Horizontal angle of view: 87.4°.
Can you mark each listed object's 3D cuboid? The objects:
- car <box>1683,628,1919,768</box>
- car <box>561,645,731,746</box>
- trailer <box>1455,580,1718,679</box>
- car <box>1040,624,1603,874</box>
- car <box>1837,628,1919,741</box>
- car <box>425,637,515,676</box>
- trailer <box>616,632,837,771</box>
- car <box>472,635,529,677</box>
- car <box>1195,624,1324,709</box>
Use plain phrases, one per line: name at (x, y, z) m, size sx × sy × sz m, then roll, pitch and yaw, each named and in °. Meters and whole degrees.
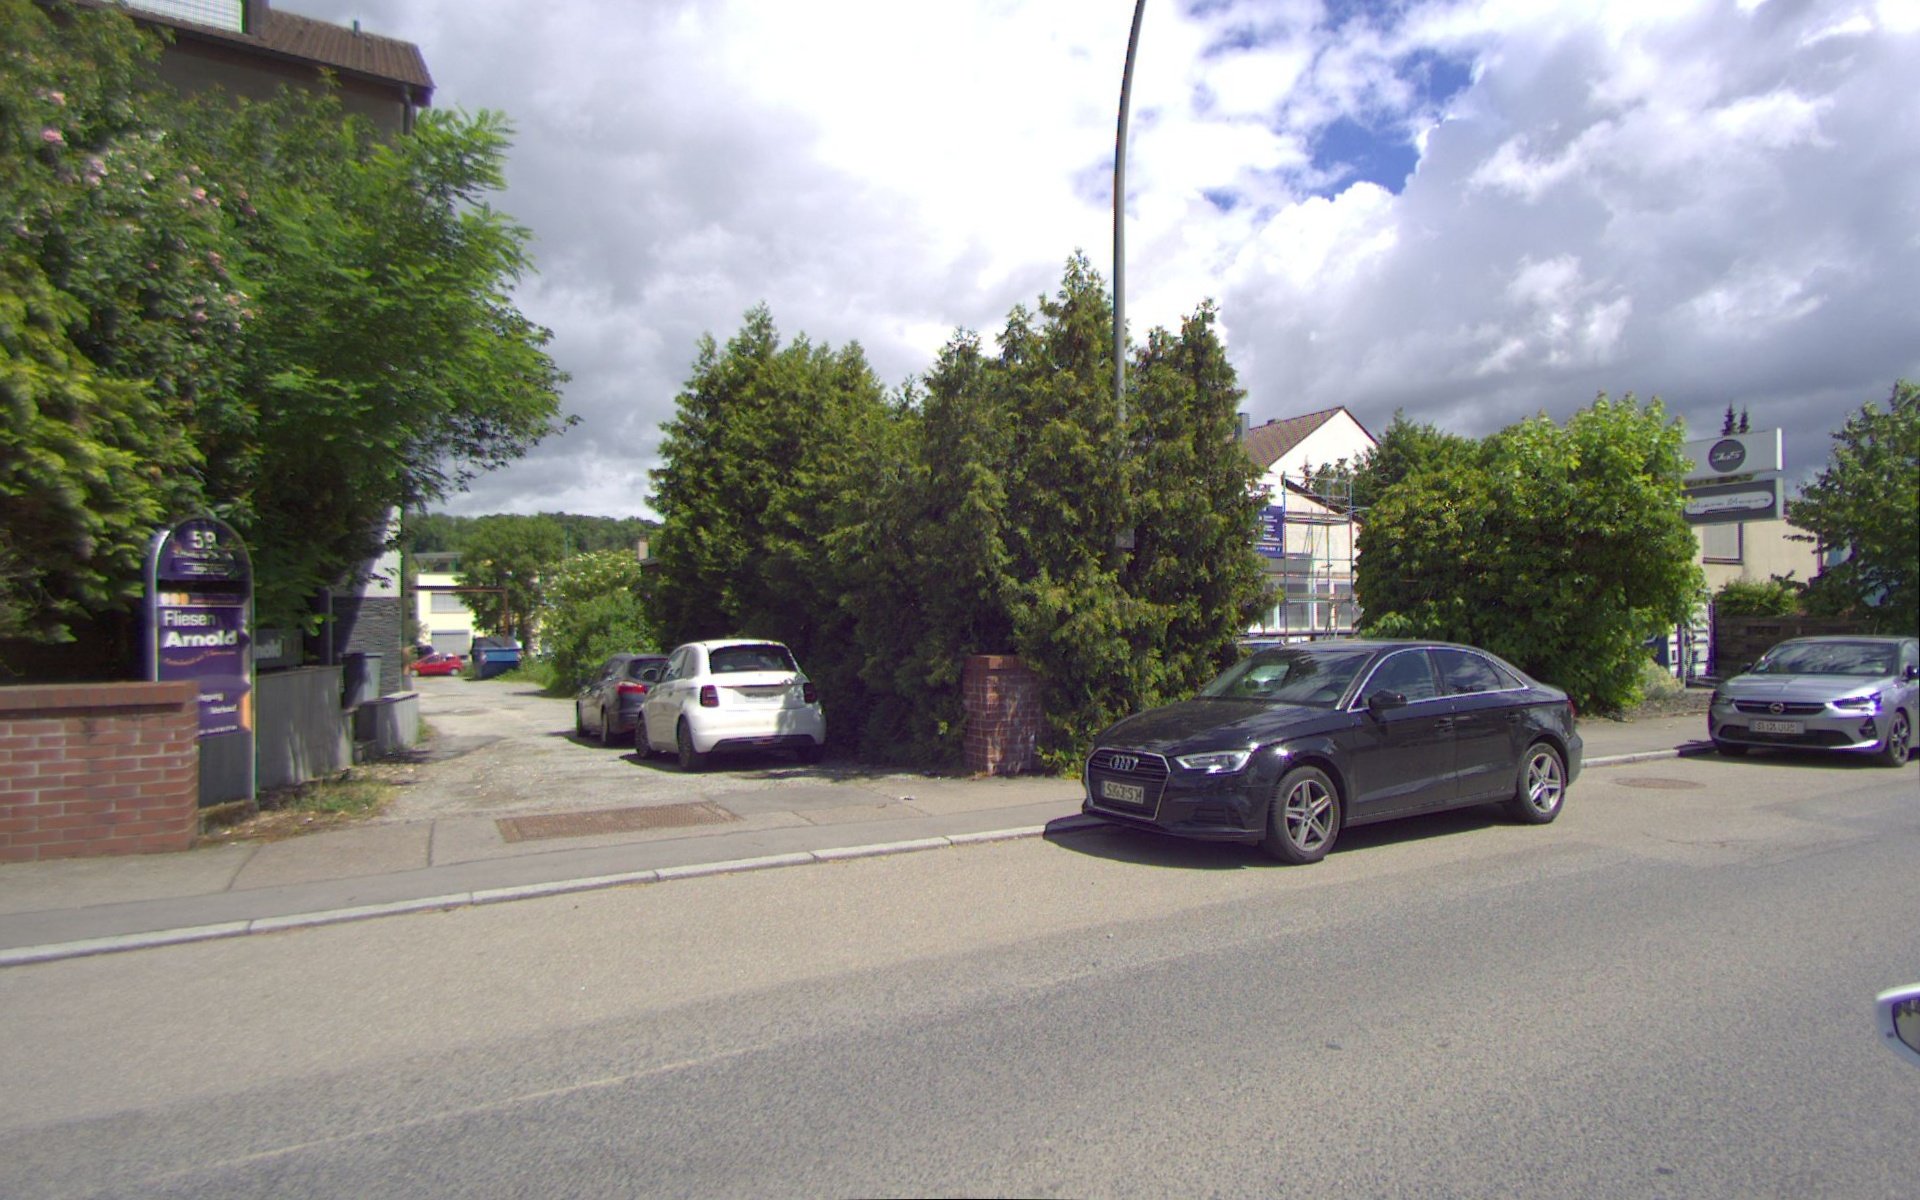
car at (10.822, 1.083, 12.305) m, size 4.152 × 1.451 × 1.711 m, roll 1°, pitch -3°, yaw -32°
car at (-5.475, 1.567, 17.160) m, size 1.976 × 1.470 × 3.970 m, roll 1°, pitch -4°, yaw -30°
trailer at (18.821, 1.013, 30.617) m, size 2.699 × 2.686 × 6.216 m, roll 1°, pitch -4°, yaw -29°
car at (2.843, 0.921, 7.628) m, size 4.287 × 1.433 × 1.655 m, roll 1°, pitch -3°, yaw -30°
car at (14.886, 1.167, 14.750) m, size 4.682 × 1.512 × 1.711 m, roll 1°, pitch -2°, yaw -32°
car at (-24.922, 2.864, 51.137) m, size 3.957 × 1.871 × 1.983 m, roll 1°, pitch -4°, yaw -33°
trailer at (-3.166, 1.254, 12.993) m, size 1.778 × 1.478 × 3.972 m, roll 1°, pitch -5°, yaw -29°
car at (-21.659, 2.660, 47.282) m, size 1.977 × 1.871 × 3.968 m, roll 1°, pitch -4°, yaw -31°
car at (5.728, 1.247, 18.910) m, size 1.856 × 1.405 × 3.999 m, roll -2°, pitch -4°, yaw 23°
